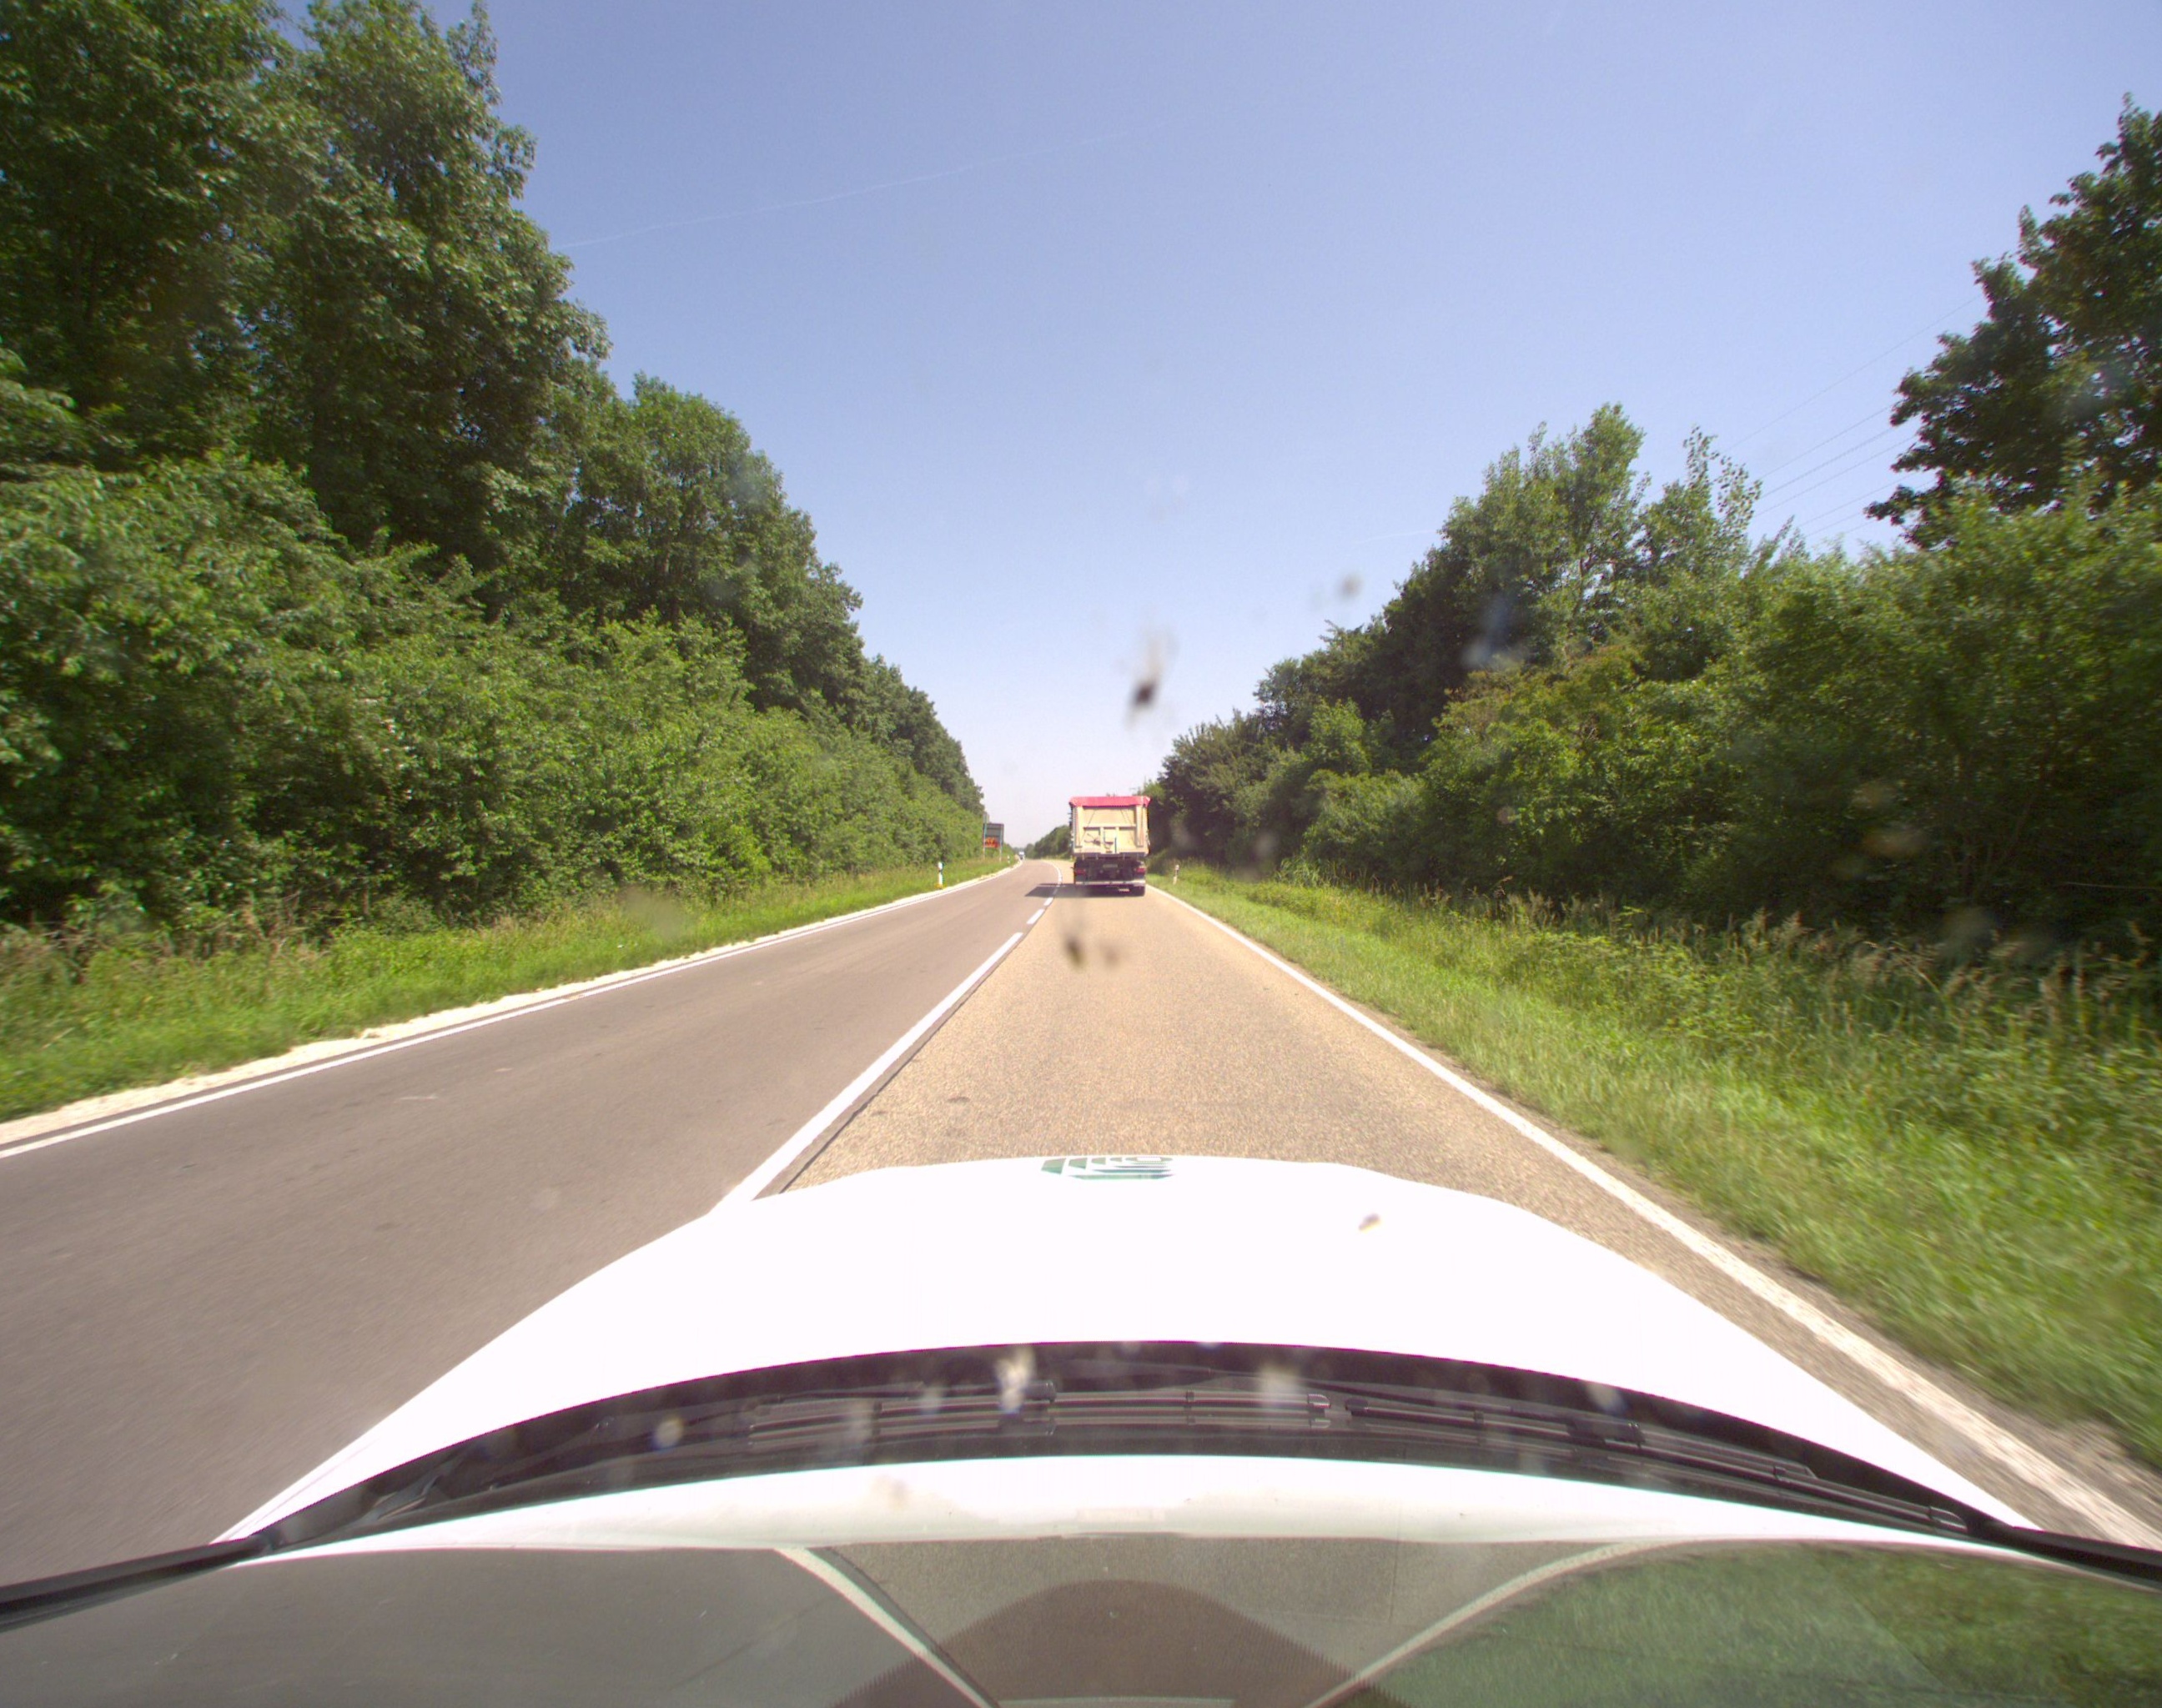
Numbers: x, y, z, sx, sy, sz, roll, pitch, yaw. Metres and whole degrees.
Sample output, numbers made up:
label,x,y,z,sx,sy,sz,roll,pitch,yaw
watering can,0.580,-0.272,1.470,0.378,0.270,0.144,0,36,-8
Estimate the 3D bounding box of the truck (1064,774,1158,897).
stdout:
label,x,y,z,sx,sy,sz,roll,pitch,yaw
truck,0.847,-0.629,32.333,2.886,3.962,11.923,0,0,-2
